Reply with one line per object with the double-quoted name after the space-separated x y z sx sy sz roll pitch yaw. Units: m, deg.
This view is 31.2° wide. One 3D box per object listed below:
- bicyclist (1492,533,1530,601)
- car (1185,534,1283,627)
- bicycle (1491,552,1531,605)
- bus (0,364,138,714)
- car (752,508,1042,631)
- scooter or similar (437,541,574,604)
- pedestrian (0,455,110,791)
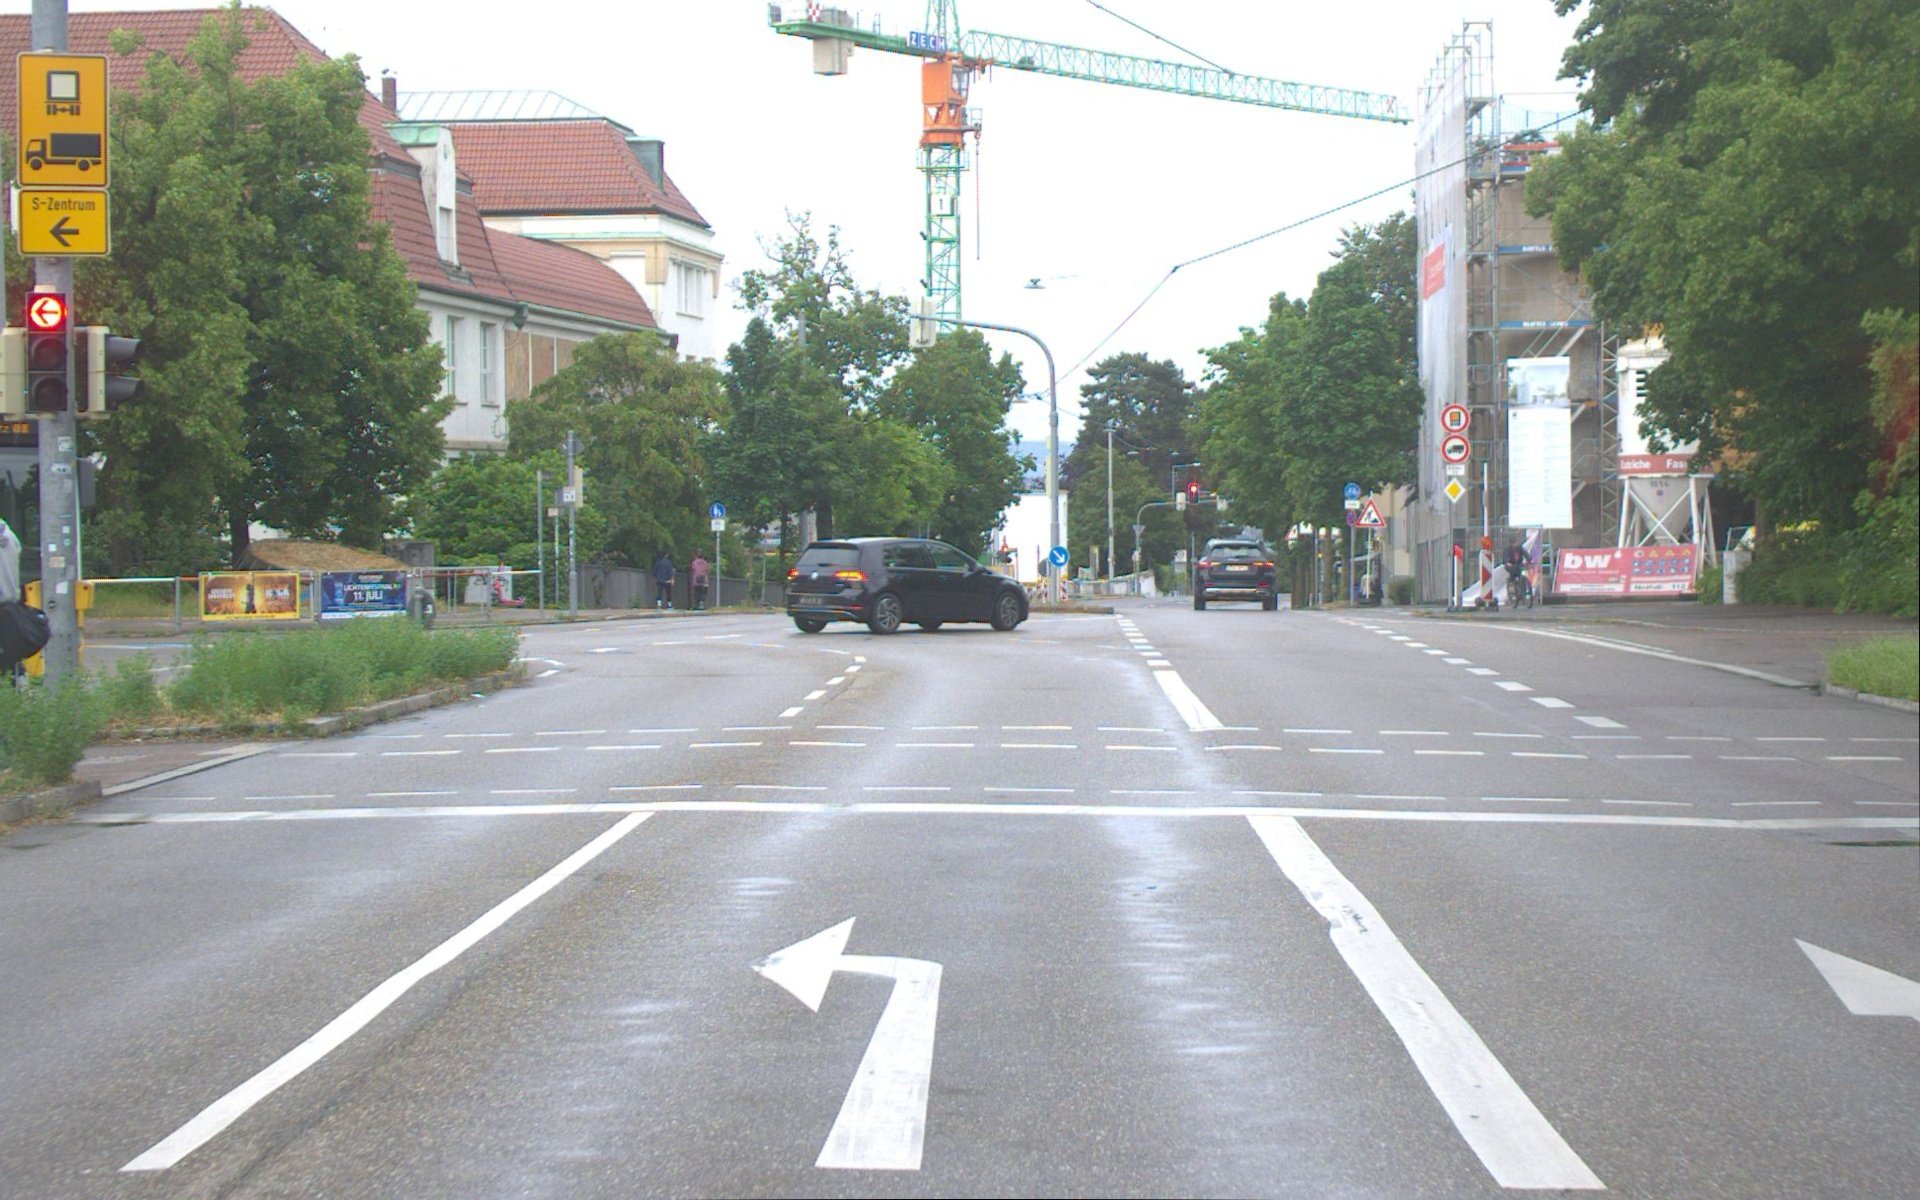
12.861 -0.768 80.258 0.720 1.558 1.142 1 -1 3 "bicyclist"
6.273 -0.413 79.158 1.944 2.014 4.550 1 -1 1 "car"
12.854 -0.490 80.306 0.720 1.189 1.755 1 0 3 "bicycle"
-11.577 -0.582 34.094 2.889 3.092 9.754 -2 1 -37 "bus"
-0.927 -0.436 51.868 3.988 1.700 1.999 2 -1 -41 "car"
-10.767 -0.650 81.469 3.087 1.435 0.949 -1 1 0 "scooter or similar"
-5.883 0.145 21.111 0.940 2.007 0.847 -3 1 7 "pedestrian"
